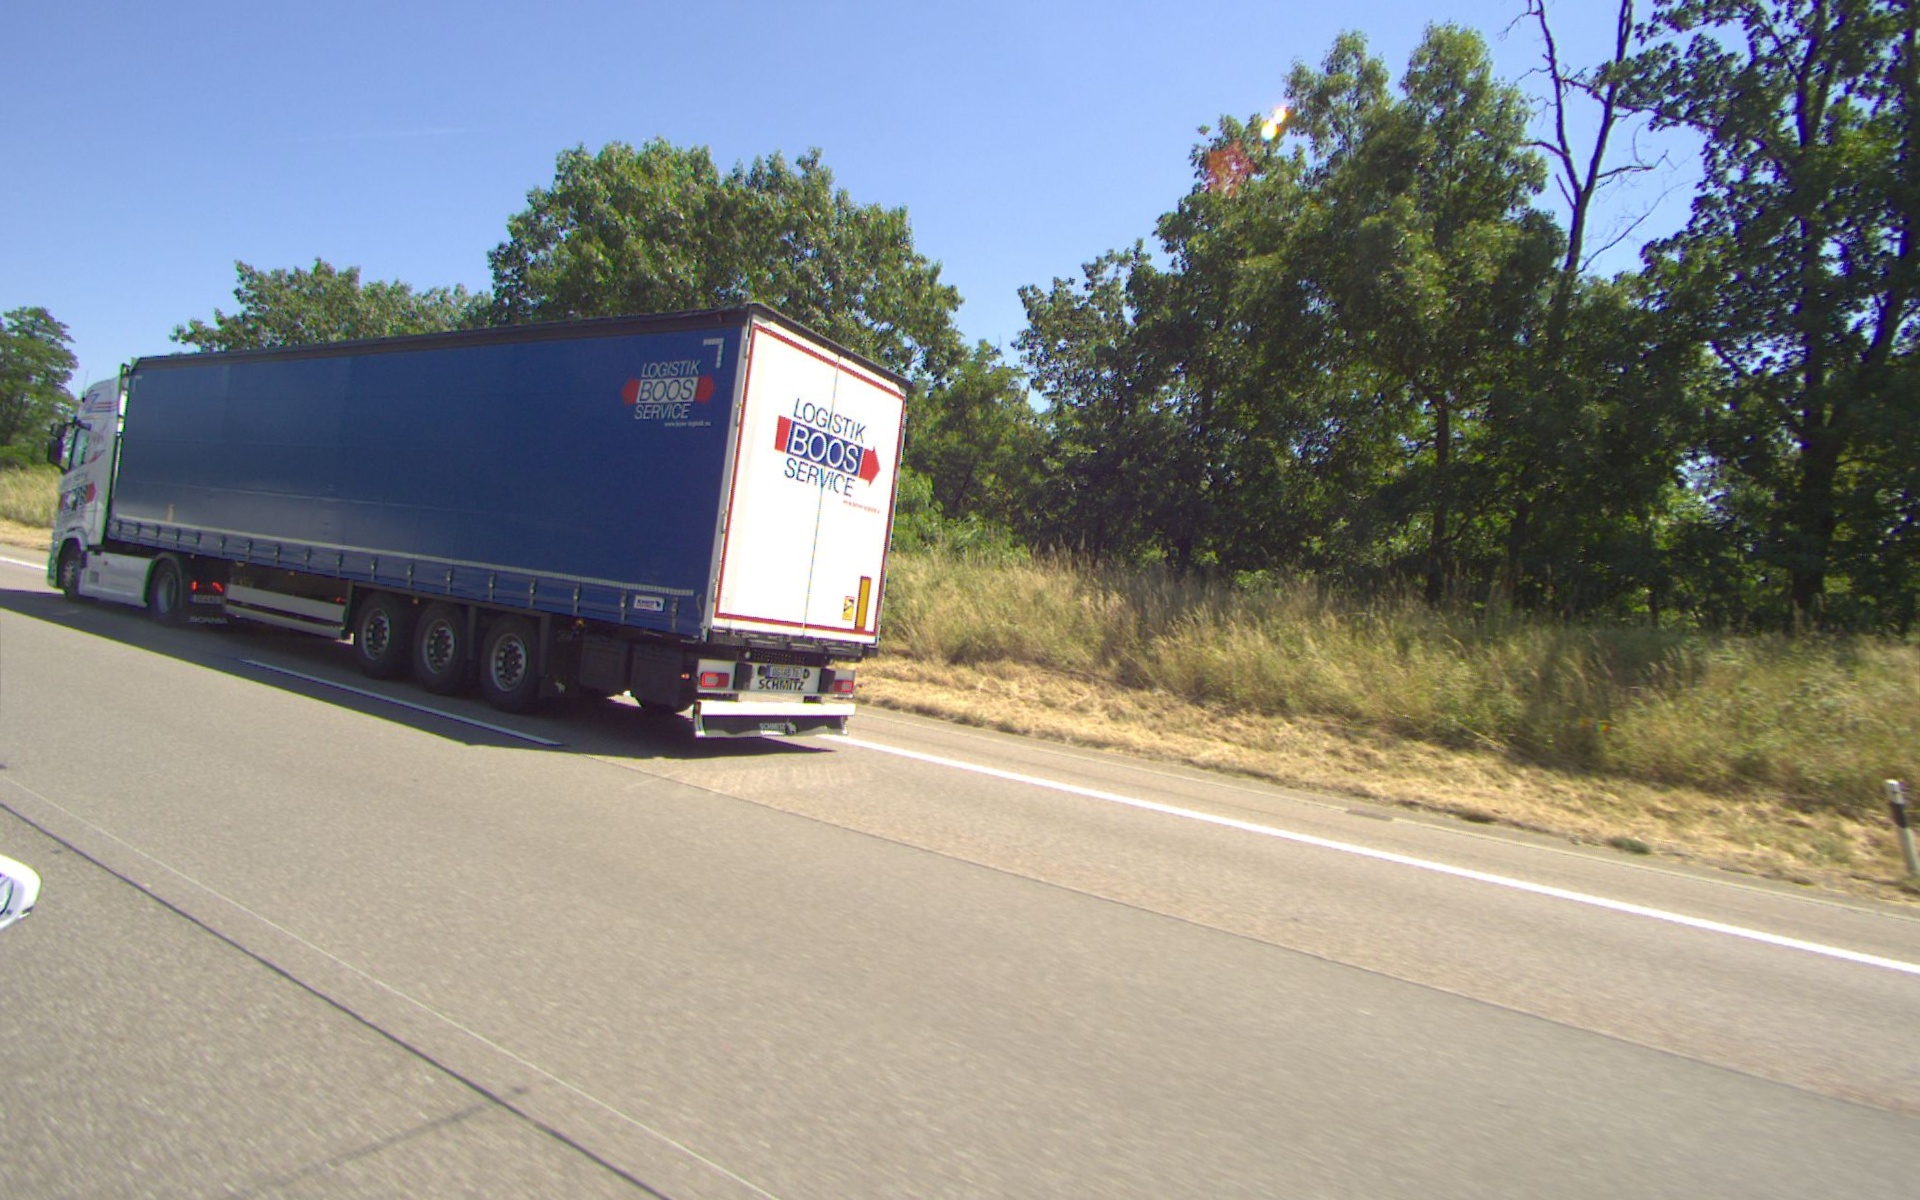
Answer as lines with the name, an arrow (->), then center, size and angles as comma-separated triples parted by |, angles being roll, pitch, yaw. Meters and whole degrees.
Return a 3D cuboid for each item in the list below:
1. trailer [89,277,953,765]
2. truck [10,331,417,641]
trailer -> -6.817, -1.143, 13.611 | 13.340, 4.268, 3.292 | 6, -2, 31
truck -> -12.905, -1.849, 17.360 | 5.908, 4.268, 3.292 | 6, -2, 31
